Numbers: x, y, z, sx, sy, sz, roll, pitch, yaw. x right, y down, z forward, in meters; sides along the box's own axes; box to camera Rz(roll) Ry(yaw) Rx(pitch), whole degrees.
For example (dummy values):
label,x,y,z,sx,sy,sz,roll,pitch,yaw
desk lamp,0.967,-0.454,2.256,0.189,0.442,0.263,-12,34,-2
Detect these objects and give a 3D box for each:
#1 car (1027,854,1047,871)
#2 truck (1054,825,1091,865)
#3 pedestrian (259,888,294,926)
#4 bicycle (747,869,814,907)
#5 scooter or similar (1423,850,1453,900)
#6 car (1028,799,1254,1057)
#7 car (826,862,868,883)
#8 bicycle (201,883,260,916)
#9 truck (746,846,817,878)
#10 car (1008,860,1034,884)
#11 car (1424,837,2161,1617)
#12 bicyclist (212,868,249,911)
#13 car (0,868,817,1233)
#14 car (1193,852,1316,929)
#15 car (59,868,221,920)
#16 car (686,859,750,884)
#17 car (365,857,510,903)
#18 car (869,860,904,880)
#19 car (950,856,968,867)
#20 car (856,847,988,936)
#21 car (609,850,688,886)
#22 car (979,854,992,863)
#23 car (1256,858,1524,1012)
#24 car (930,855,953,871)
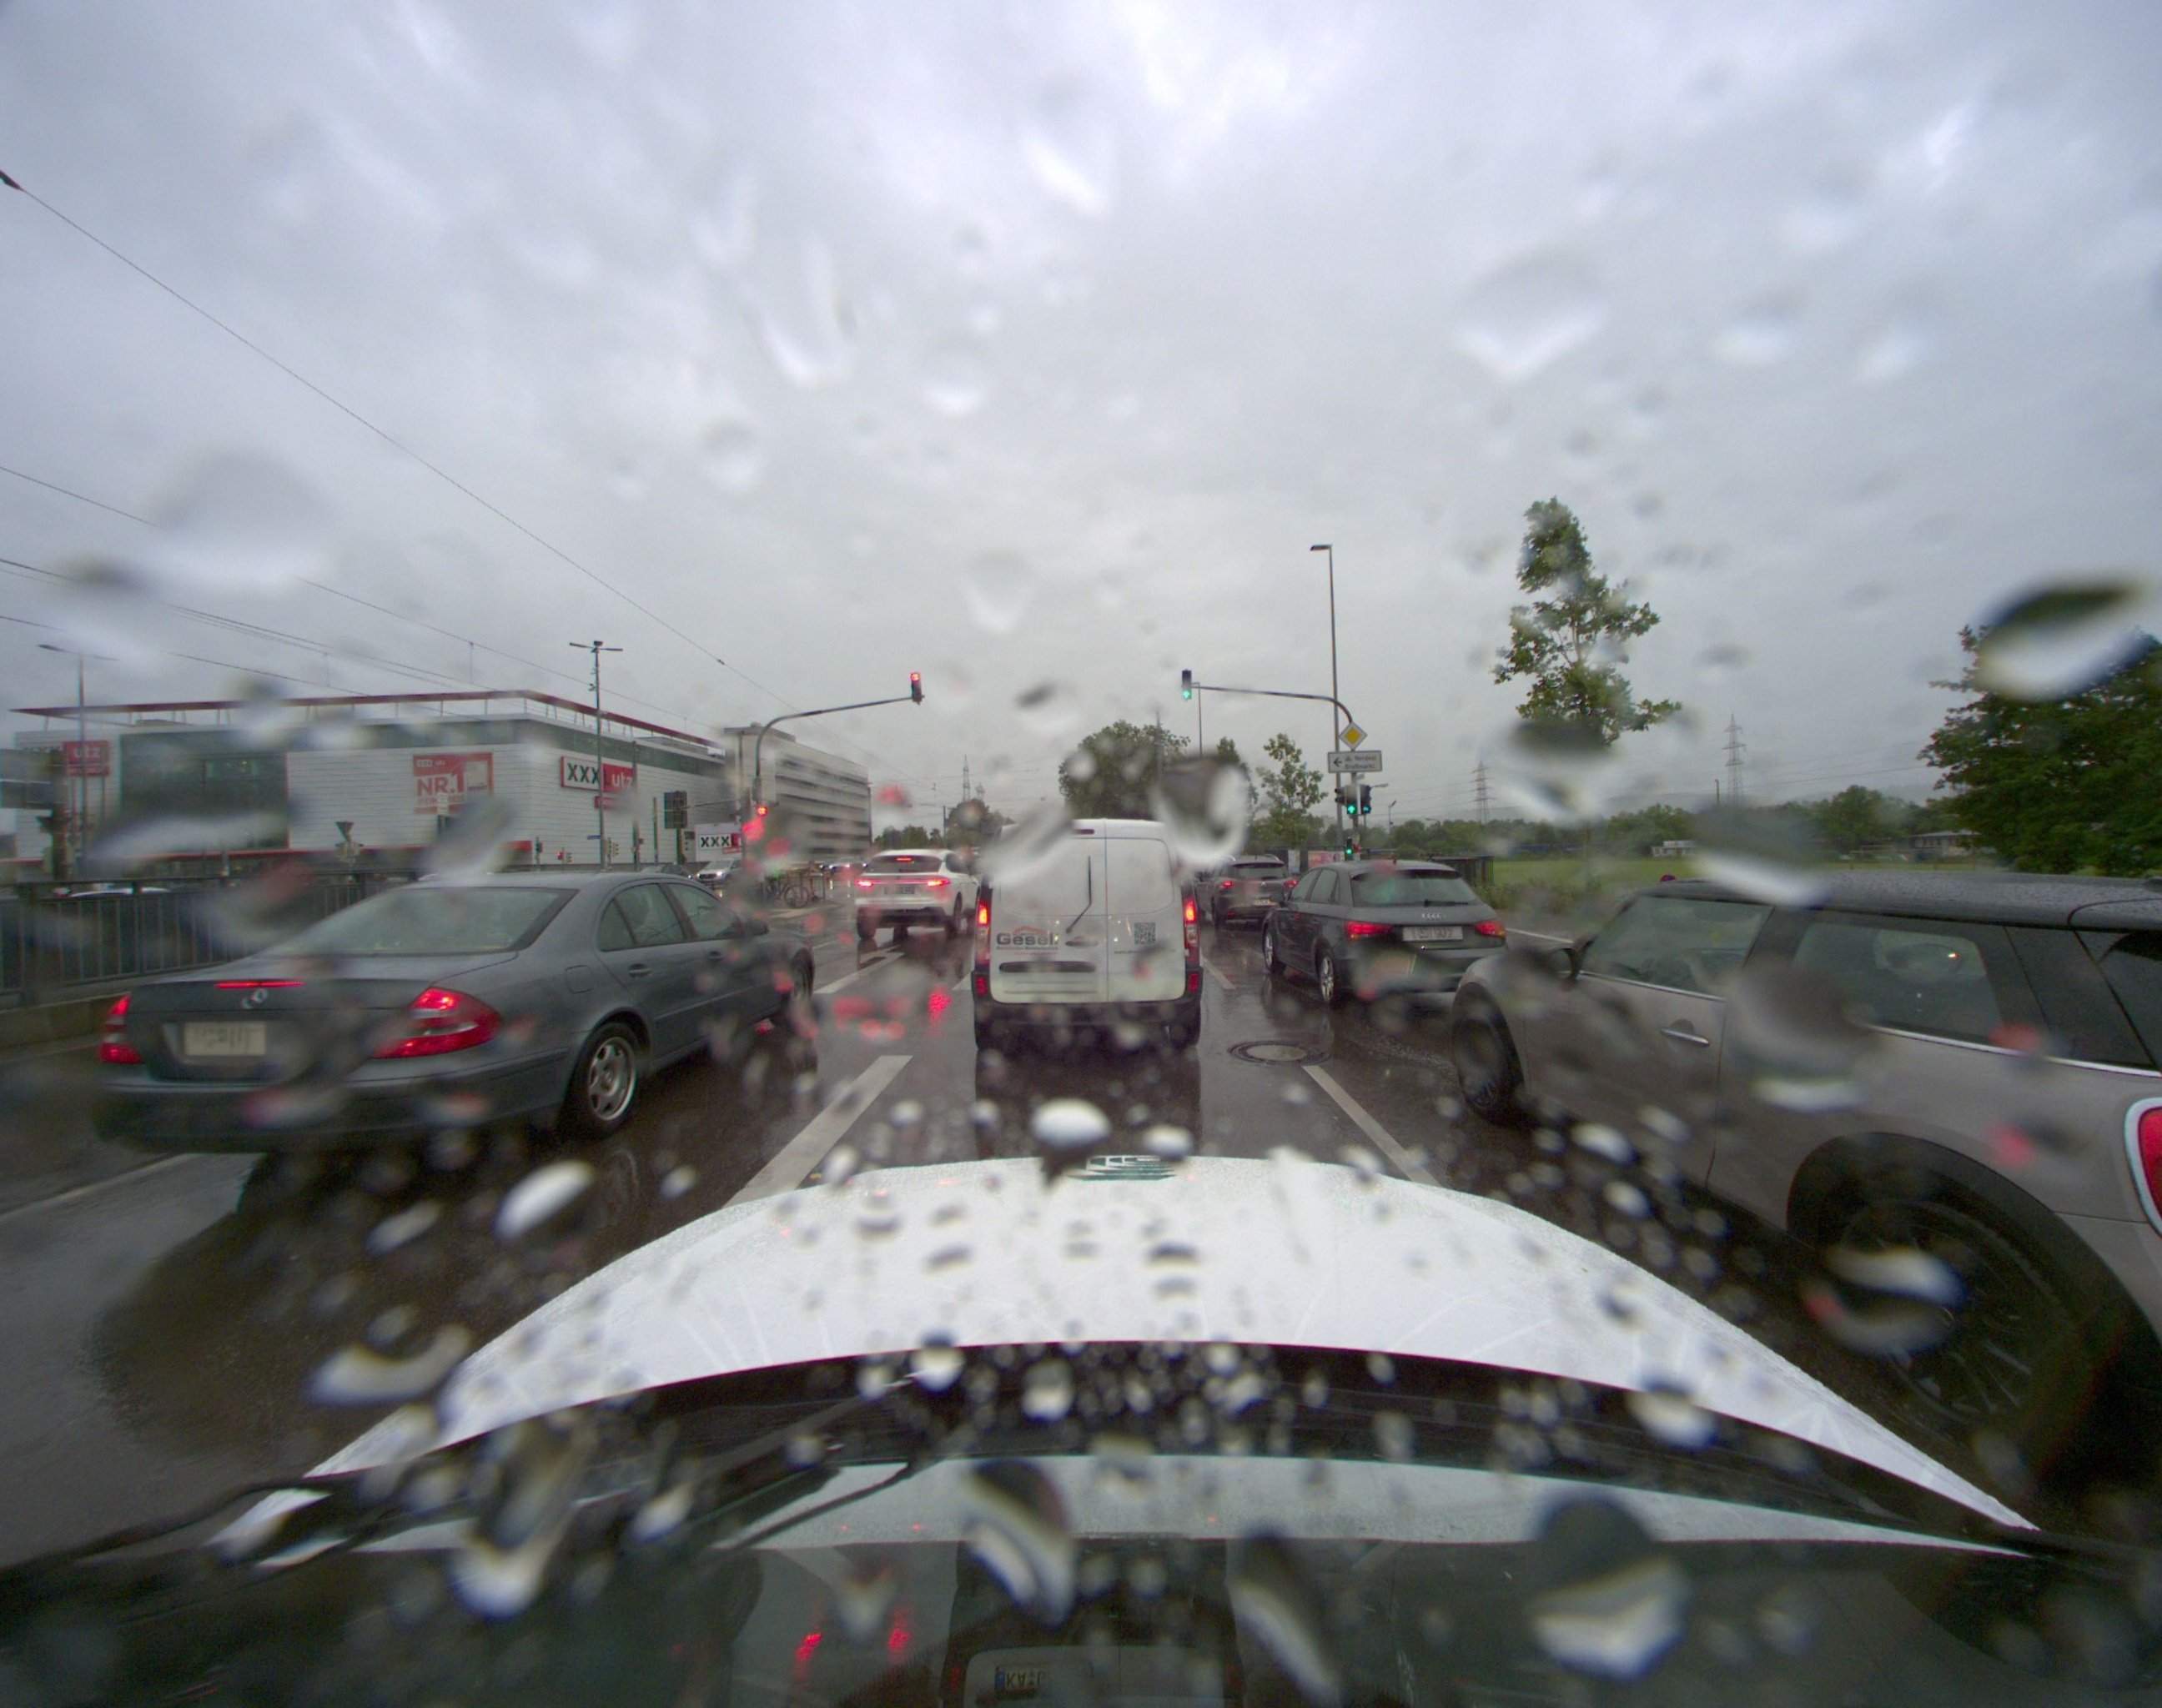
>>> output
label,x,y,z,sx,sy,sz,roll,pitch,yaw
car,-4.850,0.989,90.480,1.986,1.860,4.000,1,-1,1
truck,-0.643,-0.596,61.338,2.625,2.816,7.142,-1,-1,-1
pedestrian,-33.342,2.199,33.777,0.561,1.537,0.872,0,-1,1
bicycle,-8.812,0.993,23.904,1.745,1.034,0.414,2,-1,0
scooter or similar,8.528,0.493,19.484,0.244,1.158,1.187,0,-1,3
car,0.487,0.530,7.731,1.560,1.788,4.002,-1,0,2
car,-19.098,1.478,66.577,1.883,1.699,4.006,0,-1,6
bicycle,-28.621,1.517,27.418,0.409,1.061,1.508,0,-1,-1
truck,-22.689,0.598,62.167,2.342,2.279,7.637,0,0,2
car,-4.720,1.393,64.147,1.990,1.860,3.993,0,-1,-5
car,2.962,0.714,3.243,1.707,1.508,3.624,0,0,1
bicyclist,-28.636,1.192,27.429,0.531,1.399,0.650,0,-1,-1
car,-3.423,0.807,5.531,1.757,1.398,4.643,0,-1,0
car,3.540,0.678,17.307,1.853,1.428,3.808,0,0,1
car,-38.195,1.601,33.137,4.298,2.014,2.001,0,-1,1
car,-20.645,0.996,46.520,1.579,1.336,3.837,0,-1,6
car,-22.314,0.871,28.450,1.689,1.492,3.884,-1,-1,7
car,-18.102,1.439,75.876,1.919,1.827,4.007,0,-1,6
car,-17.504,1.018,117.197,1.755,1.549,3.683,0,-1,3
car,-3.025,0.644,16.357,1.723,1.535,4.298,0,0,1
car,-23.992,0.763,45.343,1.984,1.904,4.005,1,-1,5
car,-19.612,0.959,166.940,1.985,1.708,4.004,0,-1,3
car,3.107,0.726,8.986,1.623,1.344,3.624,0,0,1
car,-17.863,1.100,104.342,1.985,2.014,4.004,0,-1,3
